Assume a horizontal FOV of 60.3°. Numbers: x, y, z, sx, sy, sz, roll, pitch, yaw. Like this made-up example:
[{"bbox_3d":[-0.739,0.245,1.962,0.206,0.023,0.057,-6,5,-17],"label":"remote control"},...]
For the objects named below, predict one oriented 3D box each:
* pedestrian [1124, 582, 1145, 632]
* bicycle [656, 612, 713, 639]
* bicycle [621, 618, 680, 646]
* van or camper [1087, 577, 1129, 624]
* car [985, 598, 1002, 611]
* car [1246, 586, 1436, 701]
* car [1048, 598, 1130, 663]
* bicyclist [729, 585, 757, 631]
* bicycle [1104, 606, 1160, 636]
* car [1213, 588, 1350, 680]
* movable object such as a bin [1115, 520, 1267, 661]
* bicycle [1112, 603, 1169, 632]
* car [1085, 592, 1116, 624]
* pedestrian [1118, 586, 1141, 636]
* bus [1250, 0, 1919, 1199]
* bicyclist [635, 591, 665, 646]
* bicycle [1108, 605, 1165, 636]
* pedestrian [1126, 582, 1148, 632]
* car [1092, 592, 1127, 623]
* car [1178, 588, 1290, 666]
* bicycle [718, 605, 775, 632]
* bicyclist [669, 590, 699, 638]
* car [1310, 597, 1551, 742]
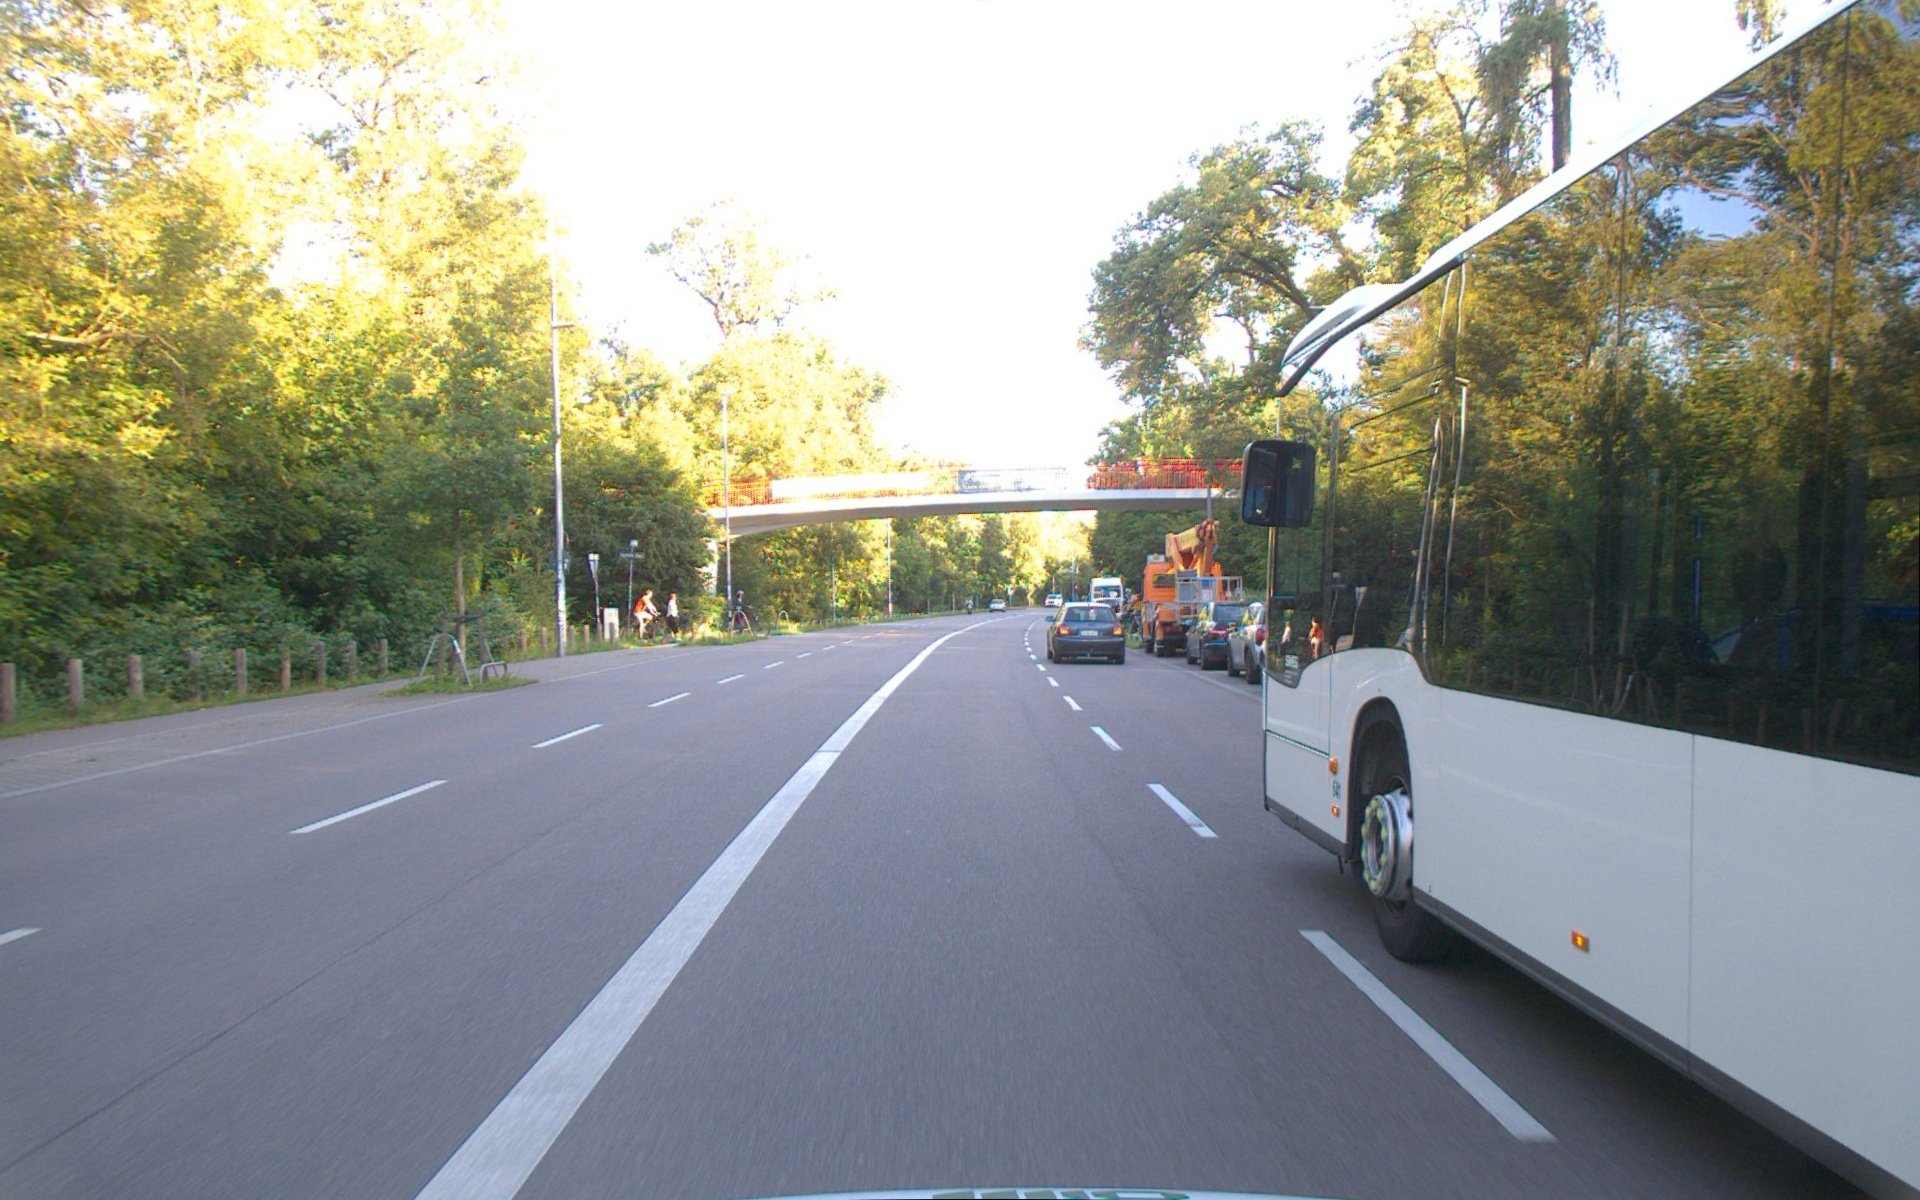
[{"bbox_3d":[6.633,0.252,62.984,0.685,1.885,0.938,0,0,-2],"label":"pedestrian"},{"bbox_3d":[-10.089,0.934,60.678,1.885,0.951,0.825,0,0,11],"label":"bicycle"},{"bbox_3d":[-11.139,1.160,59.558,1.885,0.951,0.825,-1,0,11],"label":"bicycle"},{"bbox_3d":[8.403,0.011,94.474,2.075,2.561,5.982,-1,0,3],"label":"van or camper"},{"bbox_3d":[3.793,0.477,187.323,1.646,1.431,3.891,-2,0,3],"label":"car"},{"bbox_3d":[5.709,0.605,25.361,1.801,1.601,4.458,0,0,-1],"label":"car"},{"bbox_3d":[3.027,0.694,39.465,1.692,1.467,4.090,0,0,1],"label":"car"},{"bbox_3d":[-7.860,0.281,59.973,0.778,1.672,0.842,0,0,11],"label":"bicyclist"},{"bbox_3d":[6.667,0.825,64.092,2.020,1.087,0.870,-2,-1,-2],"label":"bicycle"},{"bbox_3d":[5.956,0.584,31.063,1.693,1.601,4.089,0,0,-1],"label":"car"},{"bbox_3d":[6.063,-0.257,44.571,2.703,3.429,7.597,-1,0,-2],"label":"movable object such as a bin"},{"bbox_3d":[6.756,0.655,61.990,2.020,1.087,0.870,0,0,-2],"label":"bicycle"},{"bbox_3d":[8.616,0.463,101.796,1.791,1.900,5.076,-1,0,4],"label":"car"},{"bbox_3d":[6.557,0.426,64.097,0.685,1.885,0.938,-3,-1,-2],"label":"pedestrian"},{"bbox_3d":[3.130,-0.080,3.926,2.649,3.278,12.278,1,0,0],"label":"bus"},{"bbox_3d":[-11.152,0.663,59.565,0.778,1.934,0.818,-1,0,11],"label":"bicyclist"},{"bbox_3d":[6.718,0.767,62.947,2.020,1.087,0.870,-2,-1,-2],"label":"bicycle"},{"bbox_3d":[6.644,0.257,62.002,0.685,1.885,0.938,0,0,-2],"label":"pedestrian"},{"bbox_3d":[7.523,0.352,83.115,1.686,1.522,3.777,0,0,6],"label":"car"},{"bbox_3d":[5.946,0.565,36.319,1.693,1.601,4.089,0,0,-1],"label":"car"},{"bbox_3d":[-7.733,0.658,59.943,1.885,0.951,0.825,-1,0,11],"label":"bicycle"},{"bbox_3d":[-10.123,0.500,60.667,0.778,1.727,0.946,0,0,11],"label":"bicyclist"},{"bbox_3d":[5.589,0.762,20.156,1.693,1.569,4.089,0,0,-1],"label":"car"}]
